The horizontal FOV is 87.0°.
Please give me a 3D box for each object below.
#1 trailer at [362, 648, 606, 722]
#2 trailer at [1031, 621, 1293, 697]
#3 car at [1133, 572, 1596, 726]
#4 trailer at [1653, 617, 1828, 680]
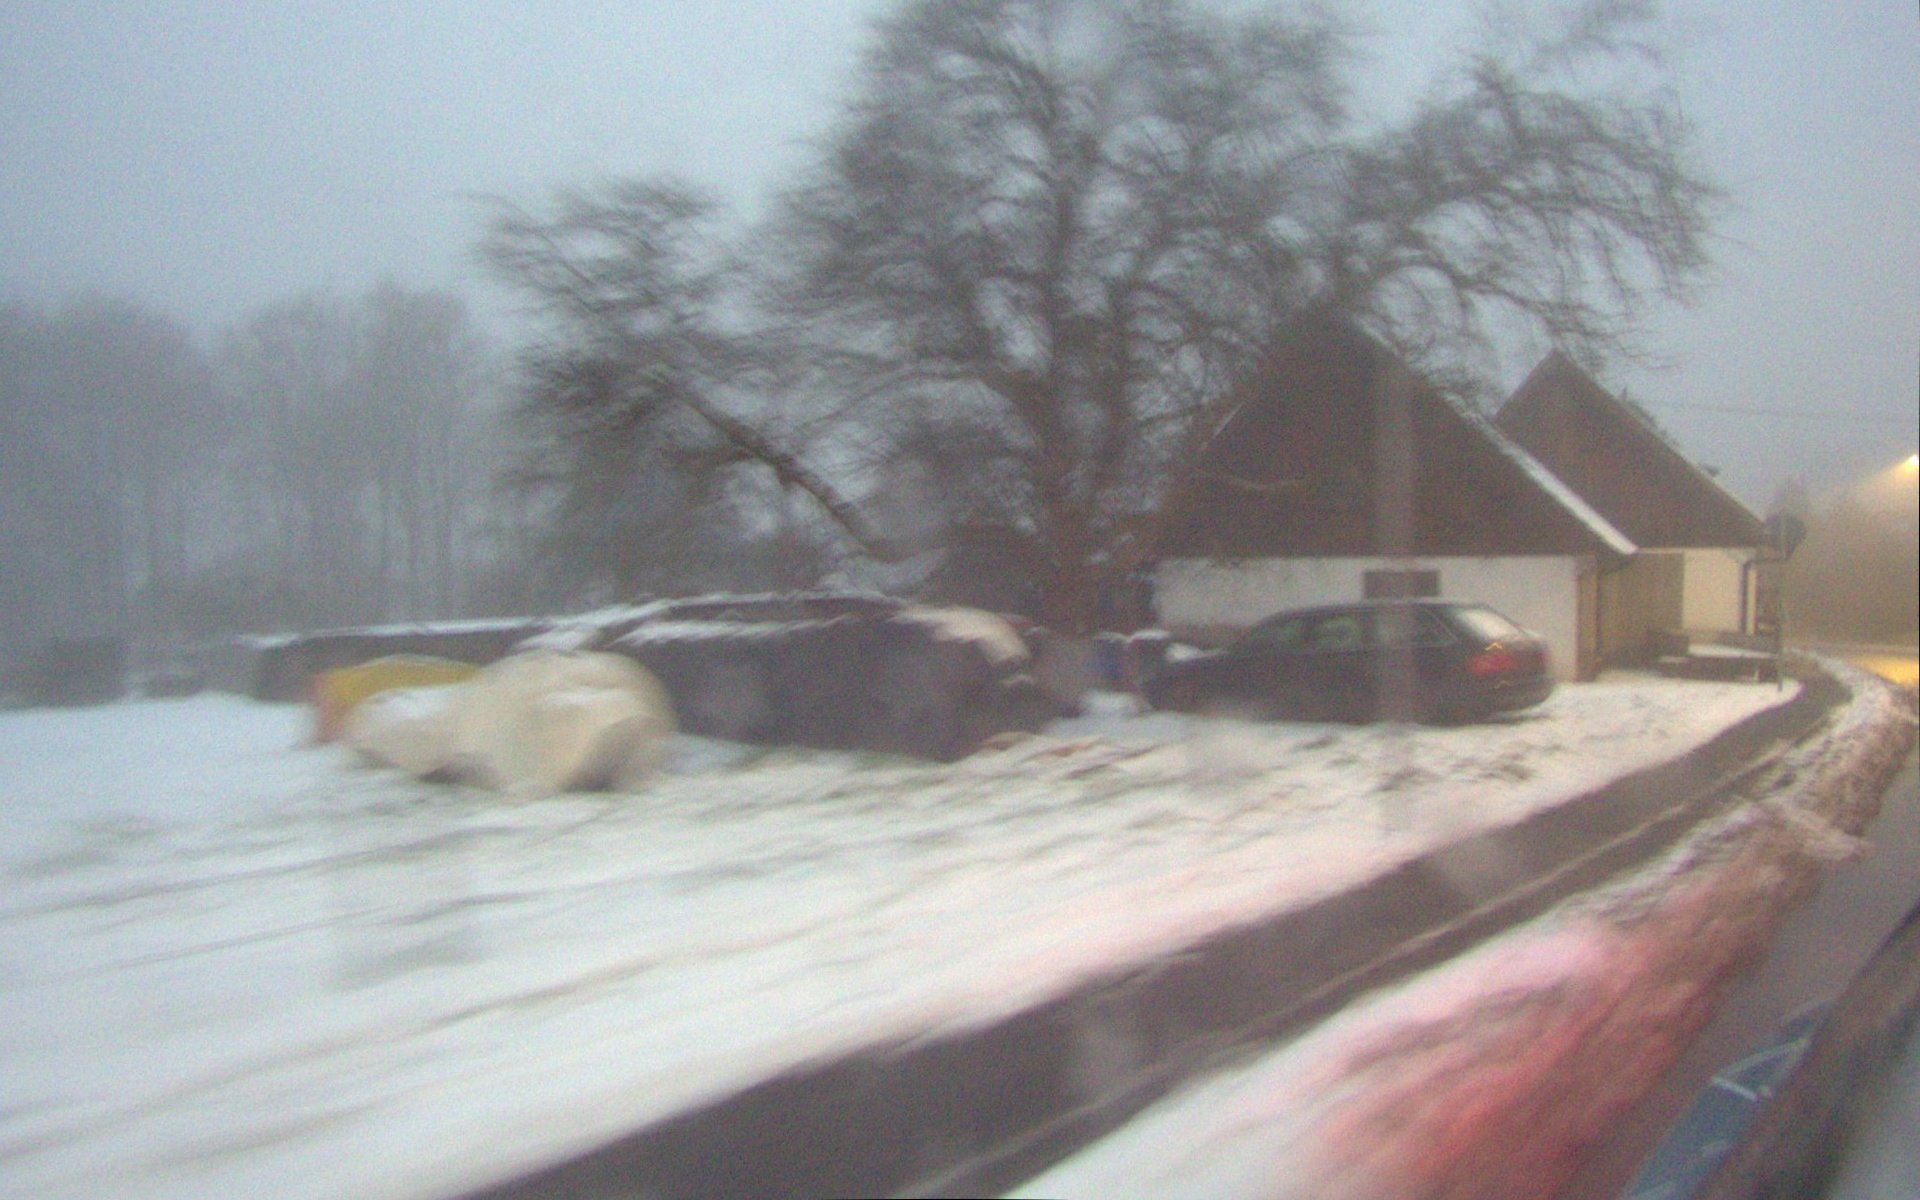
[{"bbox_3d":[-8.595,1.480,18.463,1.841,0.957,3.609,3,1,40],"label":"trailer"},{"bbox_3d":[3.430,0.947,17.498,3.867,1.105,2.211,-1,-1,43],"label":"trailer"},{"bbox_3d":[4.376,0.593,11.584,1.999,1.400,4.457,0,-4,-39],"label":"car"},{"bbox_3d":[15.298,0.900,20.080,1.530,0.957,3.975,2,1,19],"label":"trailer"}]
